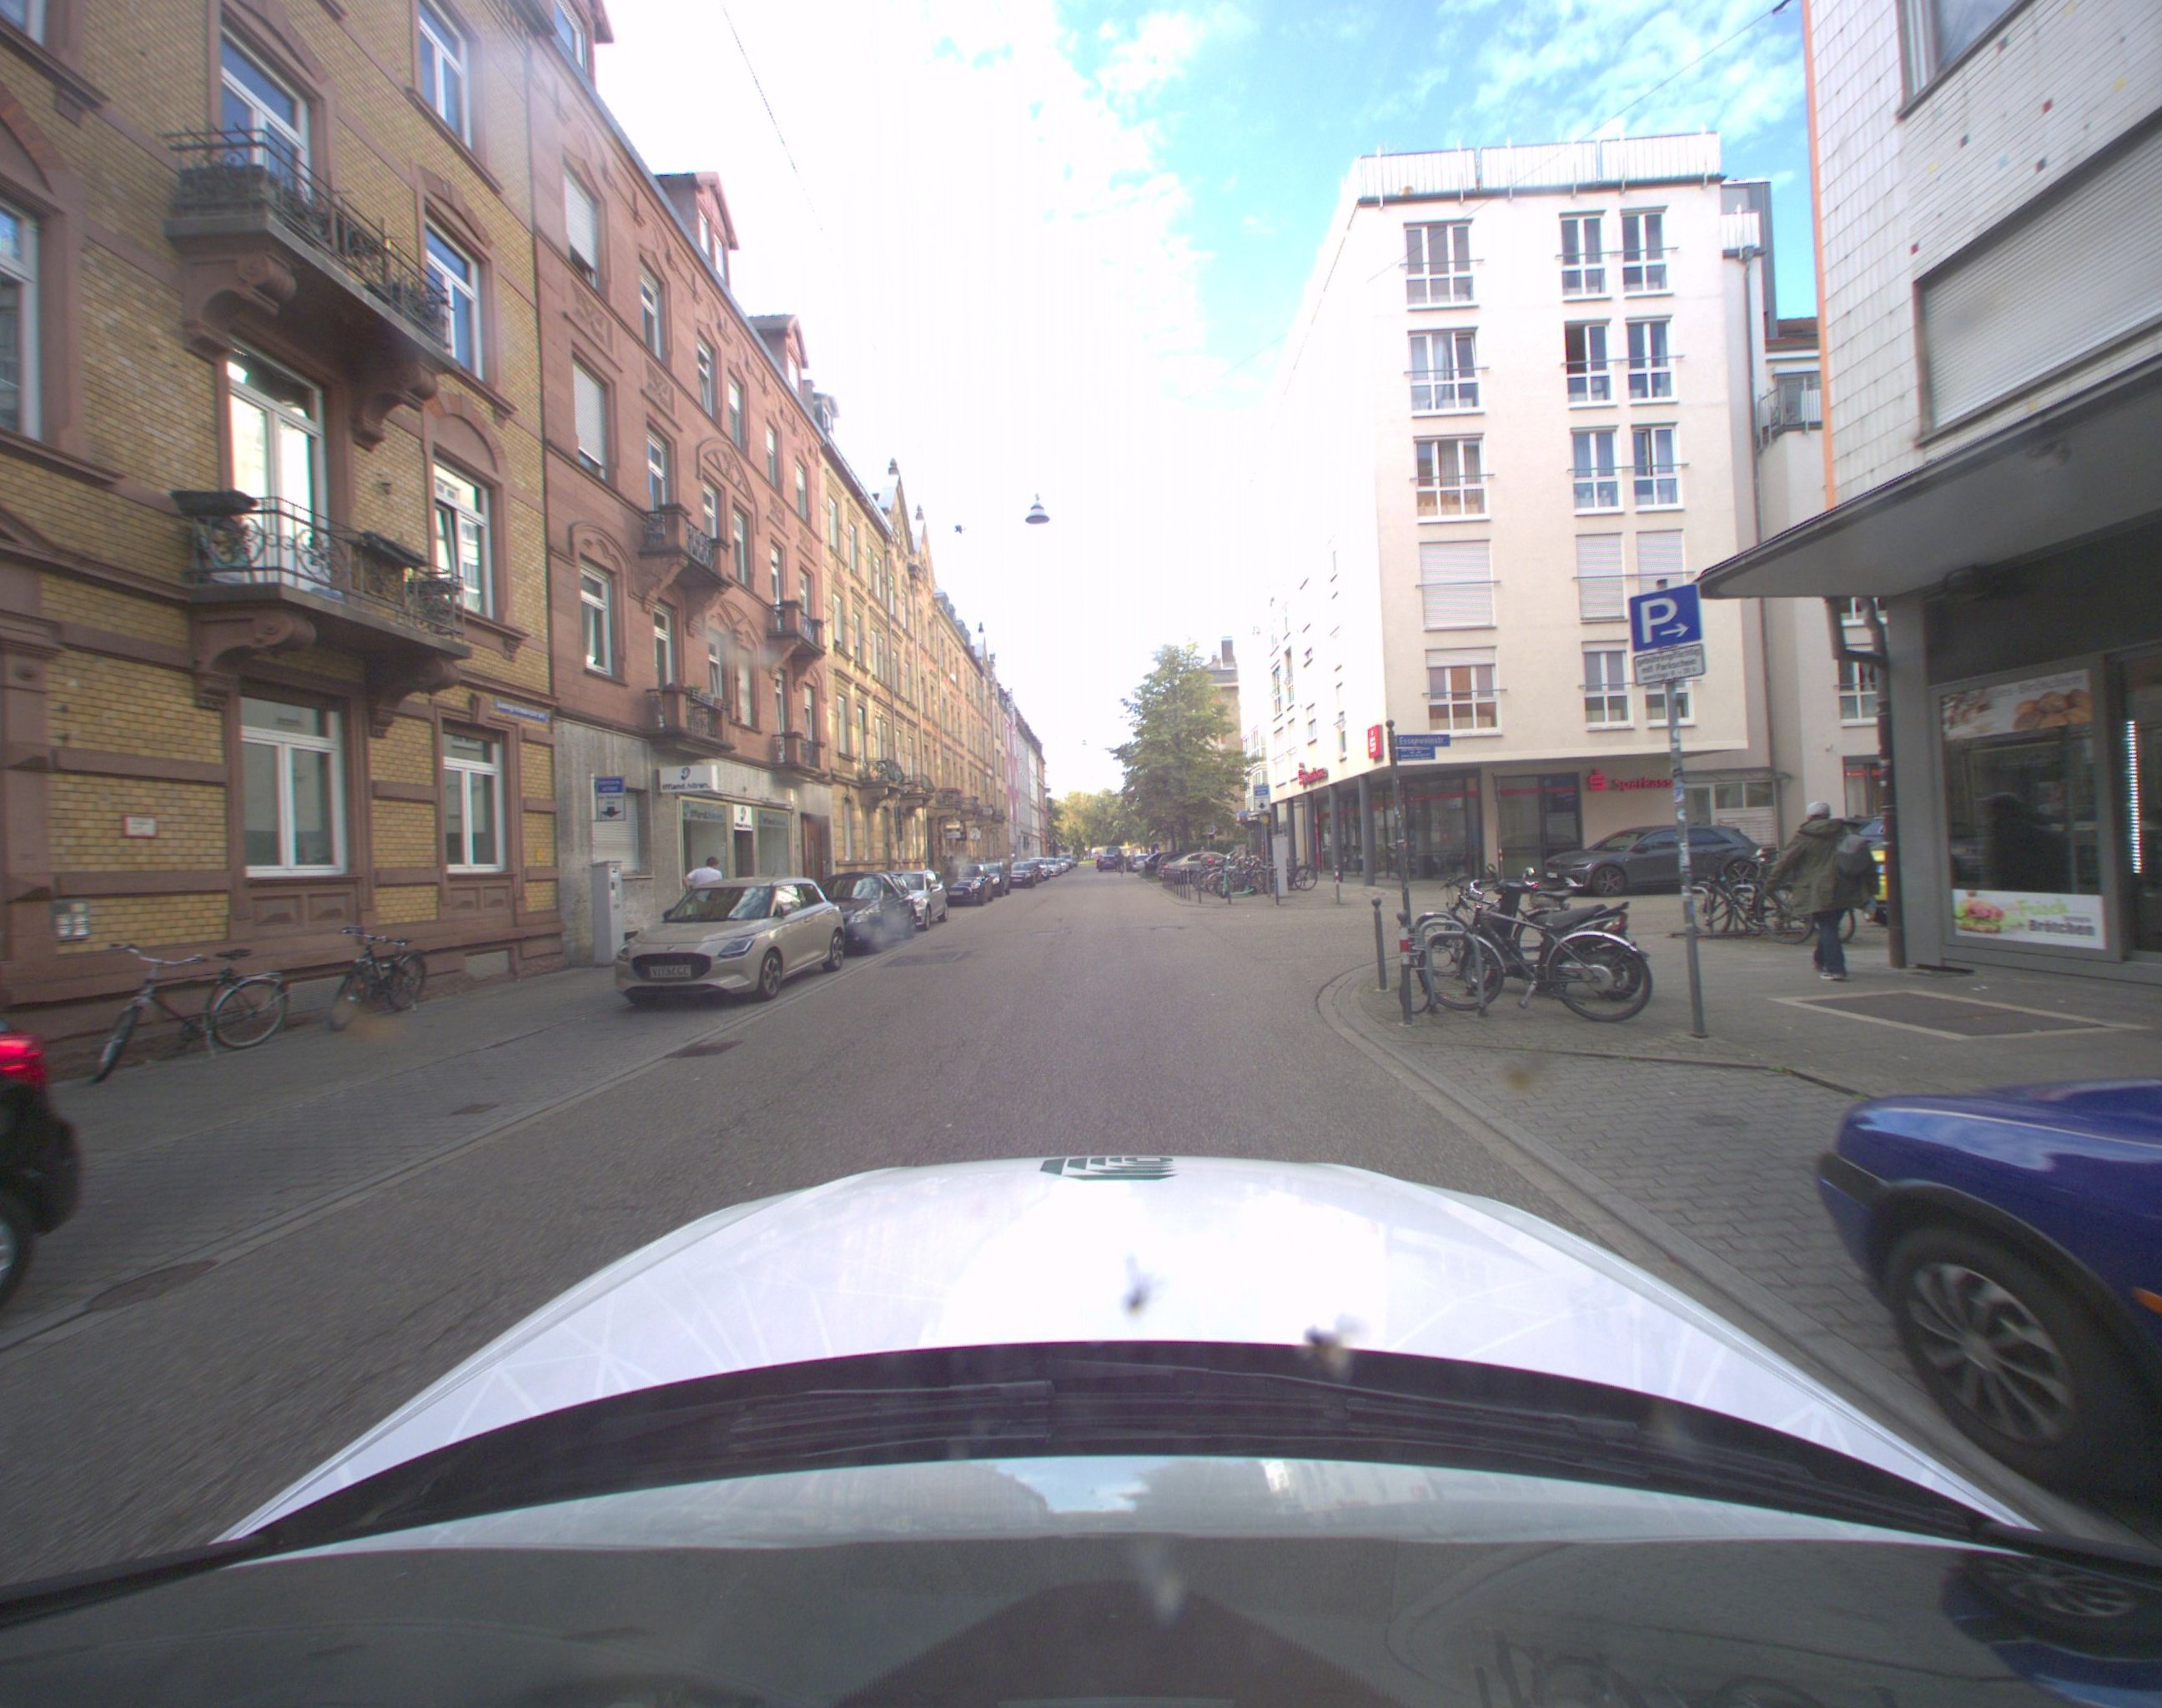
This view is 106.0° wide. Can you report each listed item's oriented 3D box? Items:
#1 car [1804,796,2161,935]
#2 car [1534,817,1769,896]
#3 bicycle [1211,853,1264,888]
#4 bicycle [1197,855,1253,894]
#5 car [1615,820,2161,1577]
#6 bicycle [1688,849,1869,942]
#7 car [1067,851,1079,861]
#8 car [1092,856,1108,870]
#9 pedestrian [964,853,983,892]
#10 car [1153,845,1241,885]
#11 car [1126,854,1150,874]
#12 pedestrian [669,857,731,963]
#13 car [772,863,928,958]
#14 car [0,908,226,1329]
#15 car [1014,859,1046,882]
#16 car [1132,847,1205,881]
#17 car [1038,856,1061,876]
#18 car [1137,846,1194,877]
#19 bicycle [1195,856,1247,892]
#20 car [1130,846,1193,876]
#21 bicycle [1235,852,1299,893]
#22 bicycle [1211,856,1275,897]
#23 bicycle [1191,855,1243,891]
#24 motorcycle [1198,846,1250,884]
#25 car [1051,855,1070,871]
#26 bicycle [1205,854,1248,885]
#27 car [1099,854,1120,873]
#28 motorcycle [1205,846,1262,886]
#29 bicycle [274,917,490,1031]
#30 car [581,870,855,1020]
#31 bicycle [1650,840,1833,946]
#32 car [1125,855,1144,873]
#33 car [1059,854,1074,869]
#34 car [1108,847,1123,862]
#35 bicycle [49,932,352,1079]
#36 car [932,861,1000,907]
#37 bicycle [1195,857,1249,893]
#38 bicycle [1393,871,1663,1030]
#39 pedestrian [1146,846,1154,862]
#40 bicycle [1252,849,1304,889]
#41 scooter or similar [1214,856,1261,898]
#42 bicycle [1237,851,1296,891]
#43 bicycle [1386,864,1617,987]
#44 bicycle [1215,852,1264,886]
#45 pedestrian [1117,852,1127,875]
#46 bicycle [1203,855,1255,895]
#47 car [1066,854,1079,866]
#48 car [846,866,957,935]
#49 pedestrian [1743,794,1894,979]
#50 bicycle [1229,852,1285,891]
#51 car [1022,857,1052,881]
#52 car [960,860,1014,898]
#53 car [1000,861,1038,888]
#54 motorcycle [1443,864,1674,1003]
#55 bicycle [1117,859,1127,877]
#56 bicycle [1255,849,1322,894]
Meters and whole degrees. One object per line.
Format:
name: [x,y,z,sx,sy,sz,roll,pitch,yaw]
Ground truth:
car: [11.996,0.114,10.428,3.770,1.501,1.798,-3,-1,2]
car: [13.643,0.033,19.679,4.344,1.630,1.809,-3,2,2]
bicycle: [5.869,0.628,30.607,1.777,1.159,0.503,-5,0,27]
bicycle: [4.807,0.667,27.178,1.771,1.146,0.409,-5,0,-19]
car: [2.867,0.657,1.142,1.590,1.439,4.031,-3,0,1]
bicycle: [8.812,0.502,10.409,0.444,1.064,1.923,-3,-1,-6]
car: [-1.222,0.329,125.254,1.581,1.539,3.756,-2,0,3]
car: [2.176,1.016,94.860,1.791,1.472,3.888,-1,0,1]
pedestrian: [-5.274,0.906,39.993,0.686,1.853,0.932,-1,0,3]
car: [5.491,0.545,38.746,3.759,1.546,1.725,-5,-1,-9]
car: [5.008,0.824,71.821,1.923,1.638,4.002,-1,0,2]
pedestrian: [-6.593,0.950,14.129,0.729,1.790,0.771,1,0,-5]
car: [-4.327,0.994,15.902,1.735,1.483,3.986,-1,1,2]
car: [-4.851,0.987,1.742,1.735,1.483,3.985,-1,-1,2]
car: [-3.331,1.062,53.650,1.683,1.369,3.869,1,0,2]
car: [5.094,0.560,47.334,3.966,1.583,2.004,-5,0,6]
car: [-2.637,1.010,69.679,1.684,1.550,3.868,-1,0,1]
car: [6.154,0.515,59.651,3.967,1.683,1.741,-5,8,5]
bicycle: [5.025,0.714,29.283,1.757,1.118,0.412,-5,0,4]
car: [5.412,0.432,54.465,3.966,1.640,2.004,-5,0,6]
bicycle: [5.753,0.571,25.265,1.758,1.087,0.651,-5,0,3]
bicycle: [4.896,0.678,24.640,1.762,1.056,0.411,-5,0,-4]
bicycle: [5.025,0.711,30.217,1.786,1.159,0.501,-5,0,4]
motorcycle: [6.388,0.478,36.524,2.139,1.530,0.687,-5,0,6]
car: [-2.115,0.953,84.886,1.684,1.550,3.868,-1,0,1]
bicycle: [6.228,0.645,34.835,1.657,1.159,0.557,-5,0,3]
car: [2.775,0.919,79.757,1.957,1.741,4.042,-1,-1,2]
motorcycle: [6.245,0.484,33.490,2.139,1.434,0.766,-5,0,6]
bicycle: [-7.965,1.325,9.410,0.894,1.037,1.773,-1,0,3]
car: [-4.546,1.038,10.949,1.735,1.483,3.986,-1,1,2]
bicycle: [8.285,0.471,10.338,0.533,1.191,1.929,-3,-1,-7]
car: [5.021,0.908,76.338,1.683,1.550,3.690,-1,0,3]
car: [-1.762,0.894,101.388,1.684,1.821,3.868,-1,0,1]
car: [4.605,0.068,108.539,1.776,2.020,3.888,-1,0,1]
bicycle: [-8.041,1.333,7.587,0.851,1.037,1.773,0,0,3]
car: [-4.031,1.022,29.072,1.683,1.386,3.869,-1,1,2]
bicycle: [4.941,0.718,28.540,1.757,1.099,0.412,-5,0,4]
bicycle: [3.592,0.744,6.659,1.747,1.095,0.688,-5,-1,44]
pedestrian: [9.663,0.028,114.447,0.991,2.230,0.899,-1,0,2]
bicycle: [6.288,0.488,26.039,1.490,1.146,0.411,-5,0,1]
scooter or similar: [4.614,0.672,24.033,1.193,1.147,0.381,-5,1,33]
bicycle: [6.055,0.551,26.583,1.762,1.146,0.411,-5,0,-5]
bicycle: [4.260,0.712,8.372,1.938,1.095,0.694,-5,-2,44]
bicycle: [6.146,0.595,31.542,1.725,1.159,0.500,-5,0,3]
pedestrian: [2.974,0.695,59.070,0.715,1.650,0.931,-1,0,2]
bicycle: [4.731,0.673,26.027,1.492,1.146,0.411,-5,0,-4]
car: [-1.265,0.837,116.501,1.684,1.550,3.868,-1,0,1]
car: [-4.280,1.067,19.989,1.683,1.386,3.869,-1,1,2]
pedestrian: [6.781,0.292,7.546,0.816,1.588,0.785,-3,-1,30]
bicycle: [5.850,0.572,27.090,1.771,1.146,0.409,-5,0,-19]
car: [-3.095,1.043,57.698,1.683,1.550,3.869,-2,0,2]
car: [-3.968,1.046,35.025,1.683,1.437,3.869,-1,1,2]
car: [-3.414,1.096,45.381,1.683,1.369,3.869,1,0,2]
motorcycle: [4.294,0.694,7.413,1.644,1.095,0.612,-5,-1,44]
bicycle: [2.975,1.006,58.951,0.715,1.274,1.885,-1,0,3]
bicycle: [6.151,0.519,24.210,1.758,1.162,0.651,-5,0,3]
